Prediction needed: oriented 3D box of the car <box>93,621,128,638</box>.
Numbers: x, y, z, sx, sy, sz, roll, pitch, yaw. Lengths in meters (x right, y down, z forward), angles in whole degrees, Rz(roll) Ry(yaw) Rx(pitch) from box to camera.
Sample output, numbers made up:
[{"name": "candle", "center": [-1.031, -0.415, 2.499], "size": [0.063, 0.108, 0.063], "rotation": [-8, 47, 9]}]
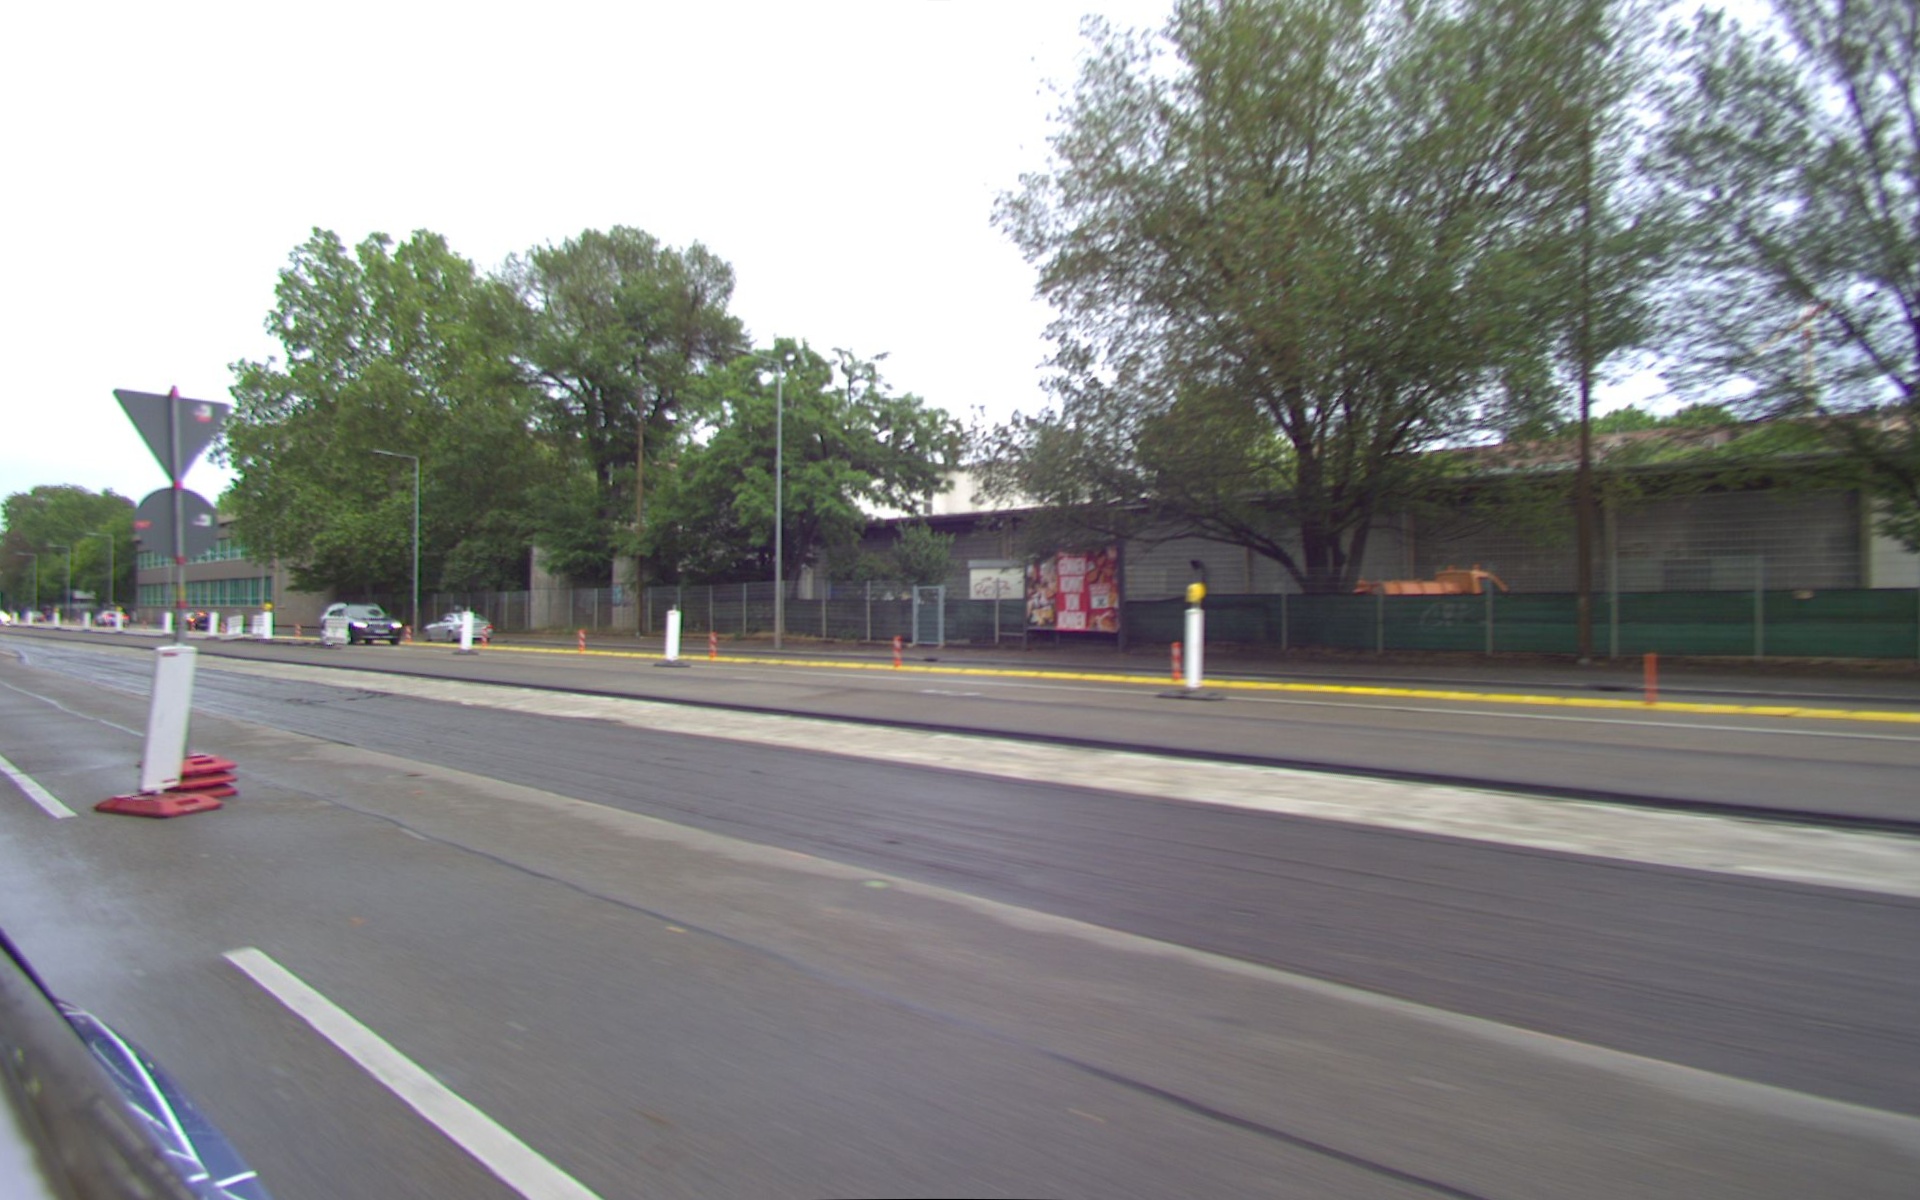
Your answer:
[{"name": "car", "center": [-75.751, 2.632, 90.249], "size": [4.146, 1.445, 1.817], "rotation": [-1, -1, 41]}]

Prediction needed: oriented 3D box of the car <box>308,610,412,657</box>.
[{"name": "car", "center": [-24.299, 1.388, 40.928], "size": [4.979, 1.719, 1.973], "rotation": [-2, -5, 39]}]

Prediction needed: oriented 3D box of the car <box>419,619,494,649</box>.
[{"name": "car", "center": [-23.954, 1.593, 48.079], "size": [4.453, 1.325, 1.649], "rotation": [-1, -4, 42]}]
